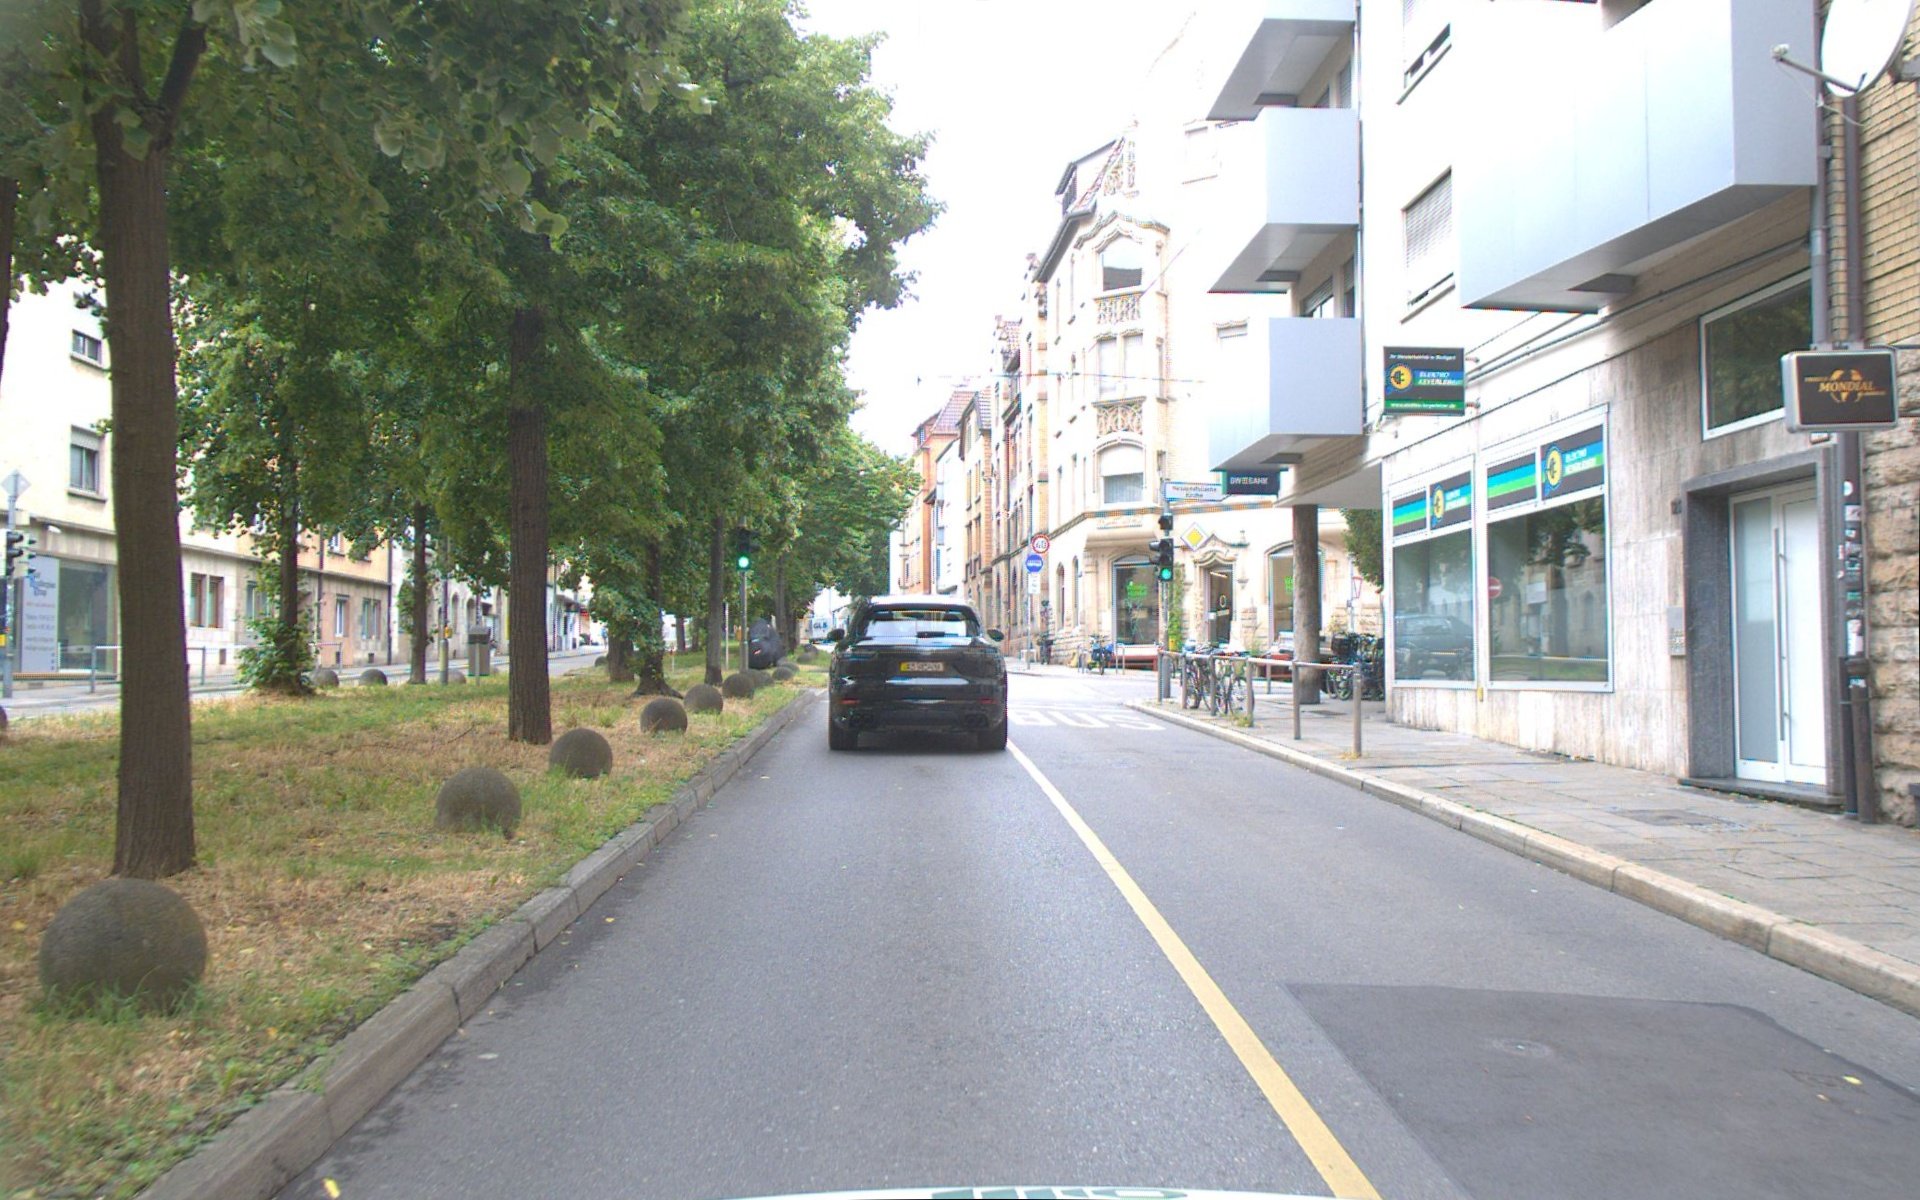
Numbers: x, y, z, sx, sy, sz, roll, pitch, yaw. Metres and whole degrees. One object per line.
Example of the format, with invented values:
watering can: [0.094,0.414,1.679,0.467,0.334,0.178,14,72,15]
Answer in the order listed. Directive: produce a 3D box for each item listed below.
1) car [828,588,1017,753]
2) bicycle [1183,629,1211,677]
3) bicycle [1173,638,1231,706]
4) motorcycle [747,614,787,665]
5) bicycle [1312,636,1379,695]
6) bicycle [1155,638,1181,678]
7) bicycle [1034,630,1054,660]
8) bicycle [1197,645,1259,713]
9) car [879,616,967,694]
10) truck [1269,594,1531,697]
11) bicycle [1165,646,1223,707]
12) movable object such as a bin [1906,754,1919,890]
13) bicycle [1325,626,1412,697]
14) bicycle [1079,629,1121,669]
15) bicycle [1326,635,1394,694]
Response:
car: [-0.497,0.747,19.059,1.954,1.695,3.997,0,-1,-3]
bicycle: [6.740,1.500,47.068,0.437,1.181,1.834,-1,4,-4]
bicycle: [3.938,1.163,27.053,0.281,1.073,1.754,1,-2,-14]
motorcycle: [-5.780,1.189,49.627,0.999,1.472,2.245,-1,-1,-2]
bicycle: [7.048,1.184,30.327,0.313,1.061,1.751,1,-2,-19]
bicycle: [5.953,1.645,47.430,0.342,1.077,1.833,3,0,-4]
bicycle: [3.045,1.657,60.235,0.437,1.055,2.246,-1,-2,-4]
bicycle: [3.928,1.149,24.355,0.557,0.948,1.774,1,-1,-2]
car: [-0.757,1.193,34.389,1.727,1.491,3.590,0,-4,-1]
truck: [10.338,1.070,39.006,5.462,2.170,2.374,2,-1,-12]
bicycle: [3.770,1.216,26.728,0.281,0.948,1.754,1,-2,-14]
movable object such as a bin: [5.160,1.109,8.038,0.595,0.680,0.858,-2,-1,-1]
bicycle: [7.140,1.061,28.980,0.315,1.220,1.740,2,-2,-33]
bicycle: [4.125,1.443,49.084,0.861,1.149,2.977,1,-1,-2]
bicycle: [7.345,1.174,30.443,0.313,1.061,1.751,1,-2,-19]
